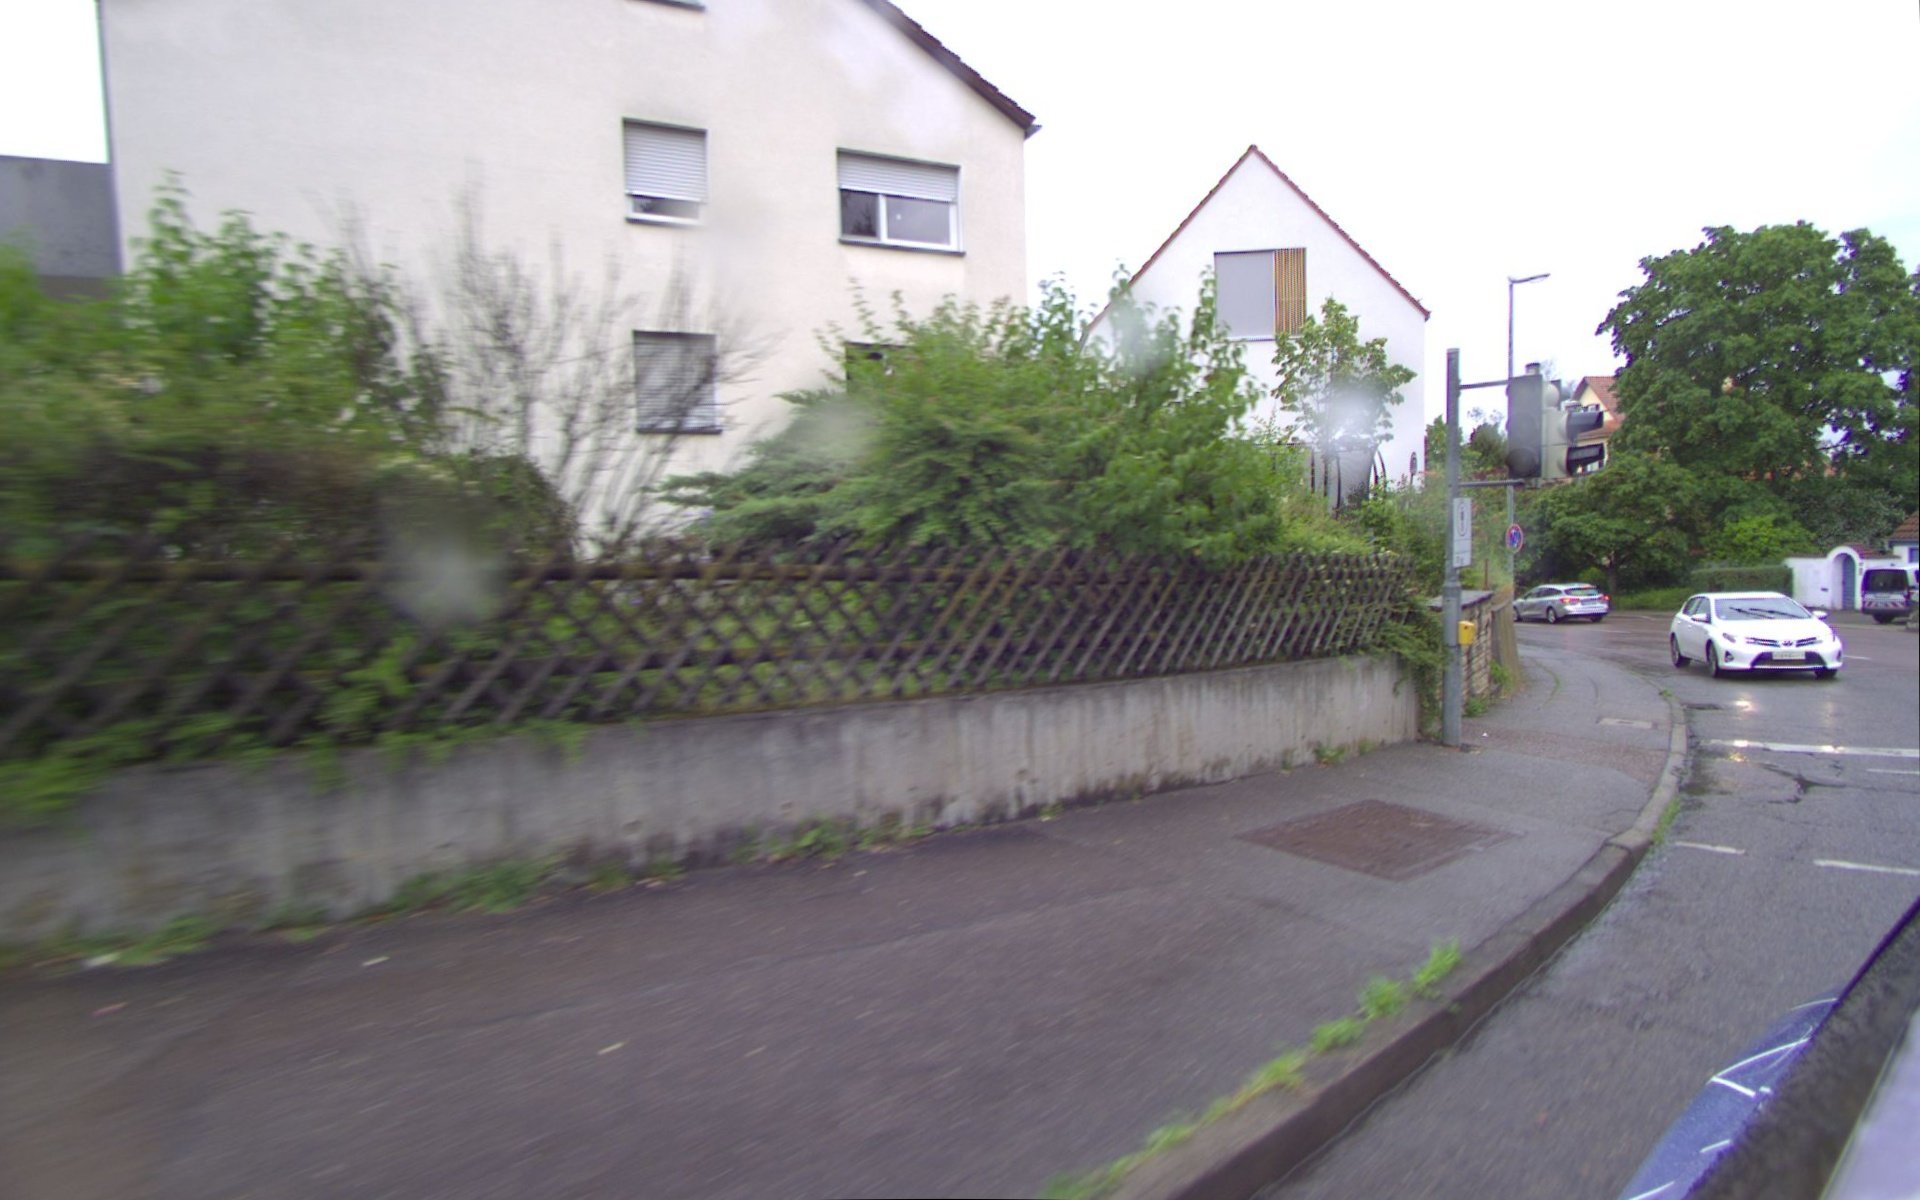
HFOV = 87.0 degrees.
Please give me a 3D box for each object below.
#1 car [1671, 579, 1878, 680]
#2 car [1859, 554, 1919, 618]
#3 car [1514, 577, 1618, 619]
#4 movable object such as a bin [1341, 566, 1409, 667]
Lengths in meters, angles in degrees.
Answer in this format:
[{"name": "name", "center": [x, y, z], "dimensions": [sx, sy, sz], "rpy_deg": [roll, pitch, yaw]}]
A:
[{"name": "car", "center": [14.603, 0.460, 18.429], "dimensions": [1.839, 1.453, 3.987], "rpy_deg": [-4, 1, 23]}, {"name": "car", "center": [30.007, -0.524, 30.406], "dimensions": [4.043, 1.822, 1.999], "rpy_deg": [-3, 0, 2]}, {"name": "car", "center": [23.037, -0.087, 38.643], "dimensions": [1.571, 1.431, 4.233], "rpy_deg": [-3, 0, 4]}, {"name": "movable object such as a bin", "center": [5.556, 0.204, 13.554], "dimensions": [0.590, 1.259, 0.611], "rpy_deg": [-5, 5, -28]}]
